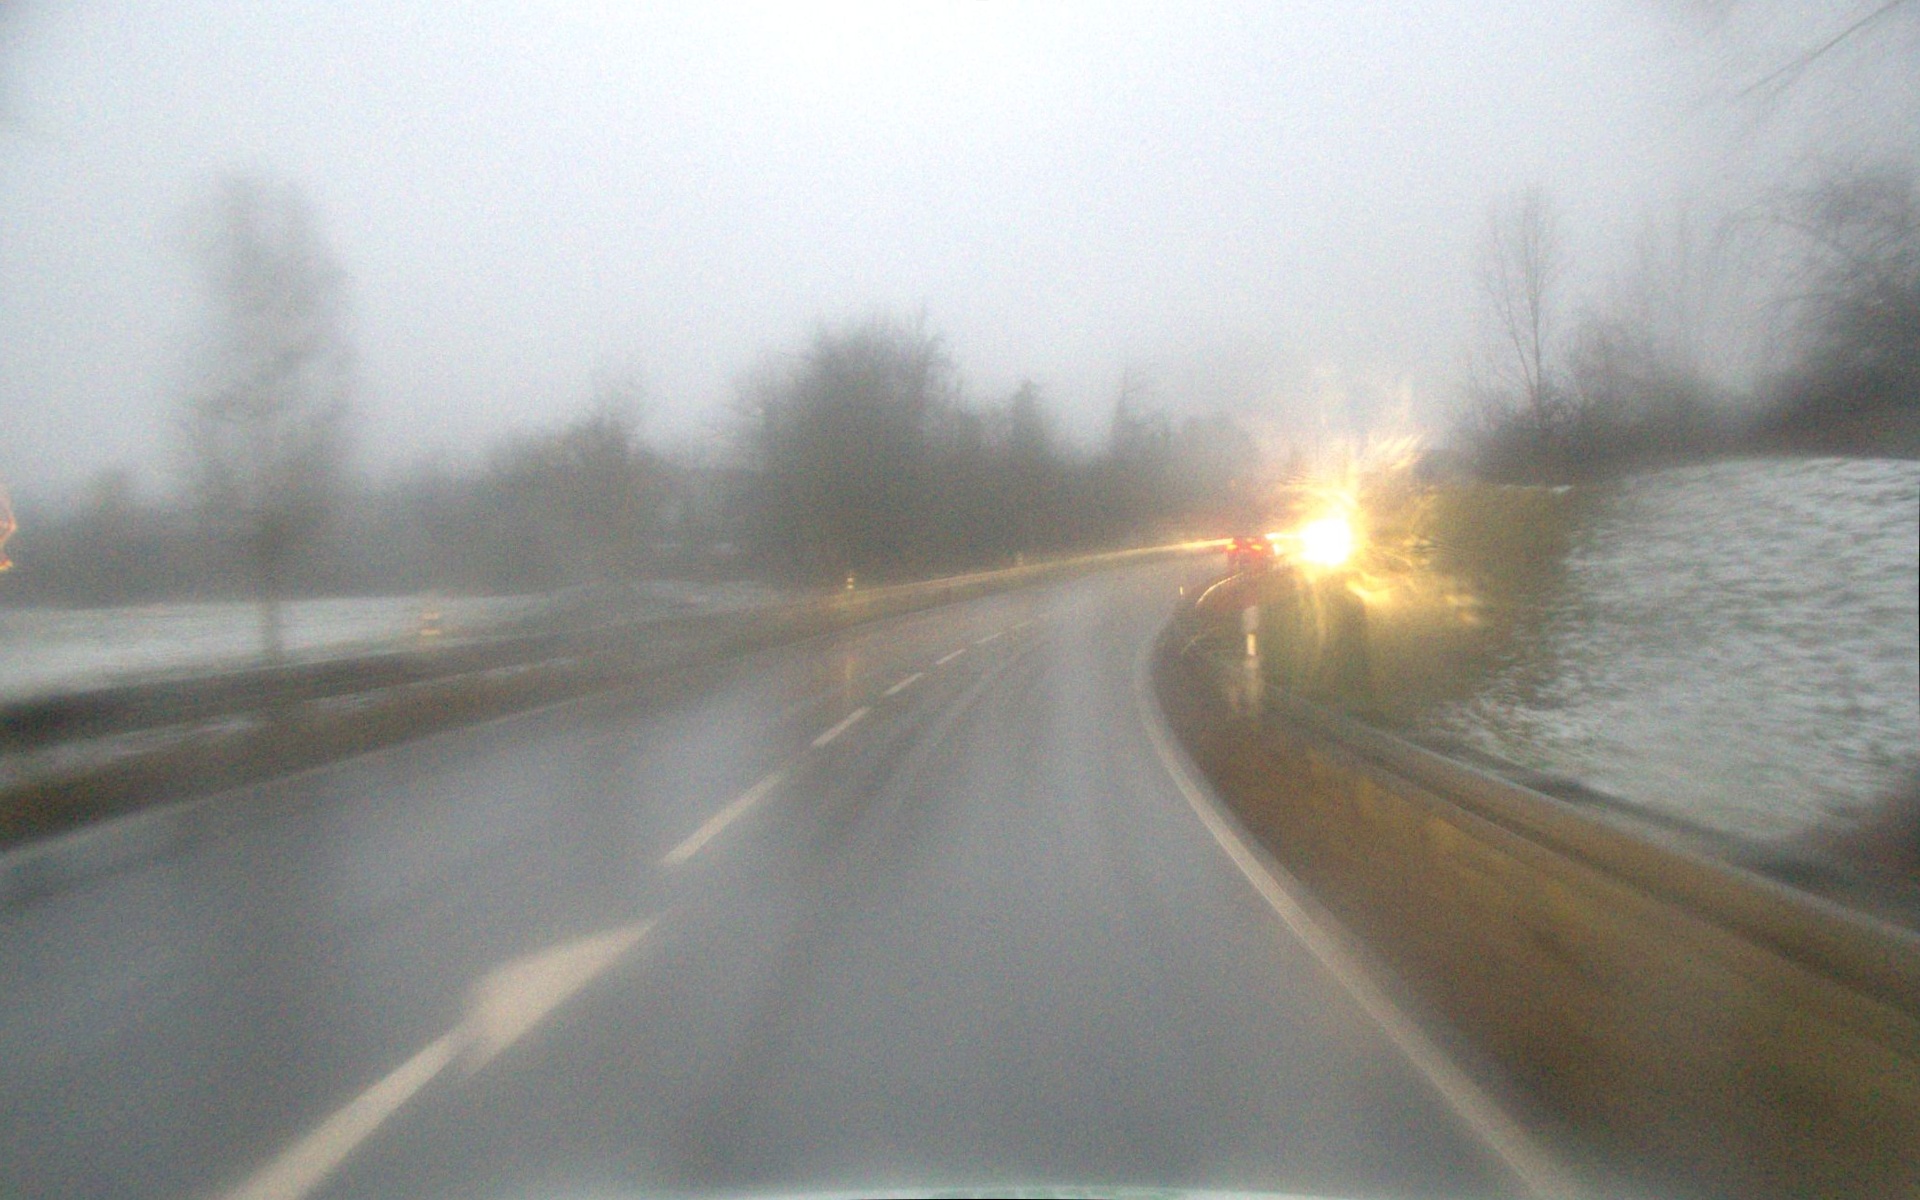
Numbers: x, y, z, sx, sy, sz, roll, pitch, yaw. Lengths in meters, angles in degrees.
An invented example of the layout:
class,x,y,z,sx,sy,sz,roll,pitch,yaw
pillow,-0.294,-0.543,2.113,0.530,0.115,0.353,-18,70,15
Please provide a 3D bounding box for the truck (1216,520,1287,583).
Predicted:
class,x,y,z,sx,sy,sz,roll,pitch,yaw
truck,14.712,-2.500,83.155,2.479,2.918,5.926,-1,3,20
